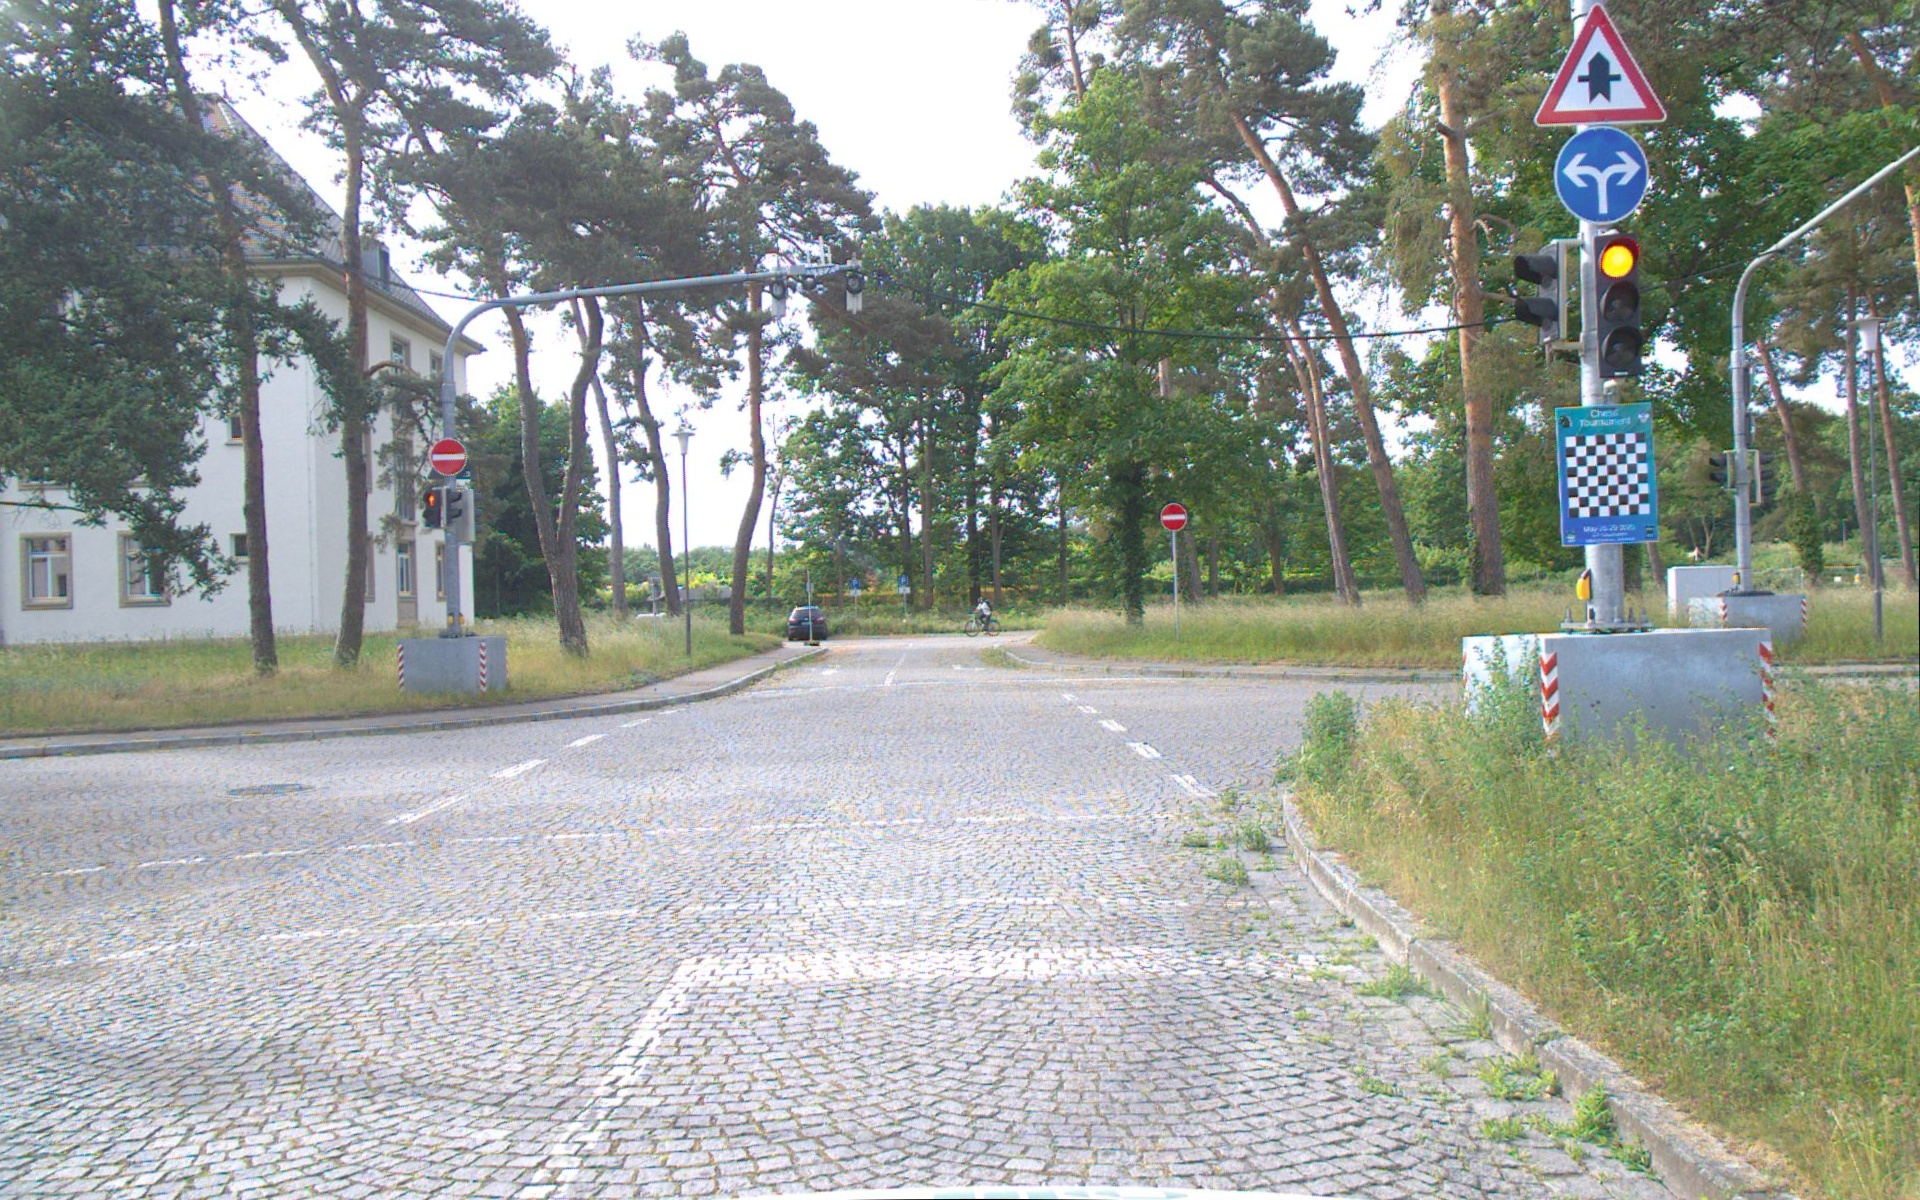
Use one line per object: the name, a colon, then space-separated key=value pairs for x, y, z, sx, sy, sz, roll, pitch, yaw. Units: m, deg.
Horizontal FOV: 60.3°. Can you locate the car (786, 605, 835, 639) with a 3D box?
car: x=-7.003 y=1.013 z=77.963 sx=1.953 sy=1.534 sz=4.000 roll=0 pitch=0 yaw=0

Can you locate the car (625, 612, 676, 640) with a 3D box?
car: x=-14.650 y=1.223 z=78.444 sx=1.654 sy=1.176 sz=4.000 roll=-2 pitch=0 yaw=0

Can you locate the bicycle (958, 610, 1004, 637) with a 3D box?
bicycle: x=0.937 y=1.063 z=74.492 sx=1.948 sy=1.114 sz=0.809 roll=-2 pitch=0 yaw=-5

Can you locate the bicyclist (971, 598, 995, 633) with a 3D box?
bicyclist: x=1.026 y=0.694 z=74.506 sx=0.955 sy=1.537 sz=0.807 roll=-2 pitch=0 yaw=-4
